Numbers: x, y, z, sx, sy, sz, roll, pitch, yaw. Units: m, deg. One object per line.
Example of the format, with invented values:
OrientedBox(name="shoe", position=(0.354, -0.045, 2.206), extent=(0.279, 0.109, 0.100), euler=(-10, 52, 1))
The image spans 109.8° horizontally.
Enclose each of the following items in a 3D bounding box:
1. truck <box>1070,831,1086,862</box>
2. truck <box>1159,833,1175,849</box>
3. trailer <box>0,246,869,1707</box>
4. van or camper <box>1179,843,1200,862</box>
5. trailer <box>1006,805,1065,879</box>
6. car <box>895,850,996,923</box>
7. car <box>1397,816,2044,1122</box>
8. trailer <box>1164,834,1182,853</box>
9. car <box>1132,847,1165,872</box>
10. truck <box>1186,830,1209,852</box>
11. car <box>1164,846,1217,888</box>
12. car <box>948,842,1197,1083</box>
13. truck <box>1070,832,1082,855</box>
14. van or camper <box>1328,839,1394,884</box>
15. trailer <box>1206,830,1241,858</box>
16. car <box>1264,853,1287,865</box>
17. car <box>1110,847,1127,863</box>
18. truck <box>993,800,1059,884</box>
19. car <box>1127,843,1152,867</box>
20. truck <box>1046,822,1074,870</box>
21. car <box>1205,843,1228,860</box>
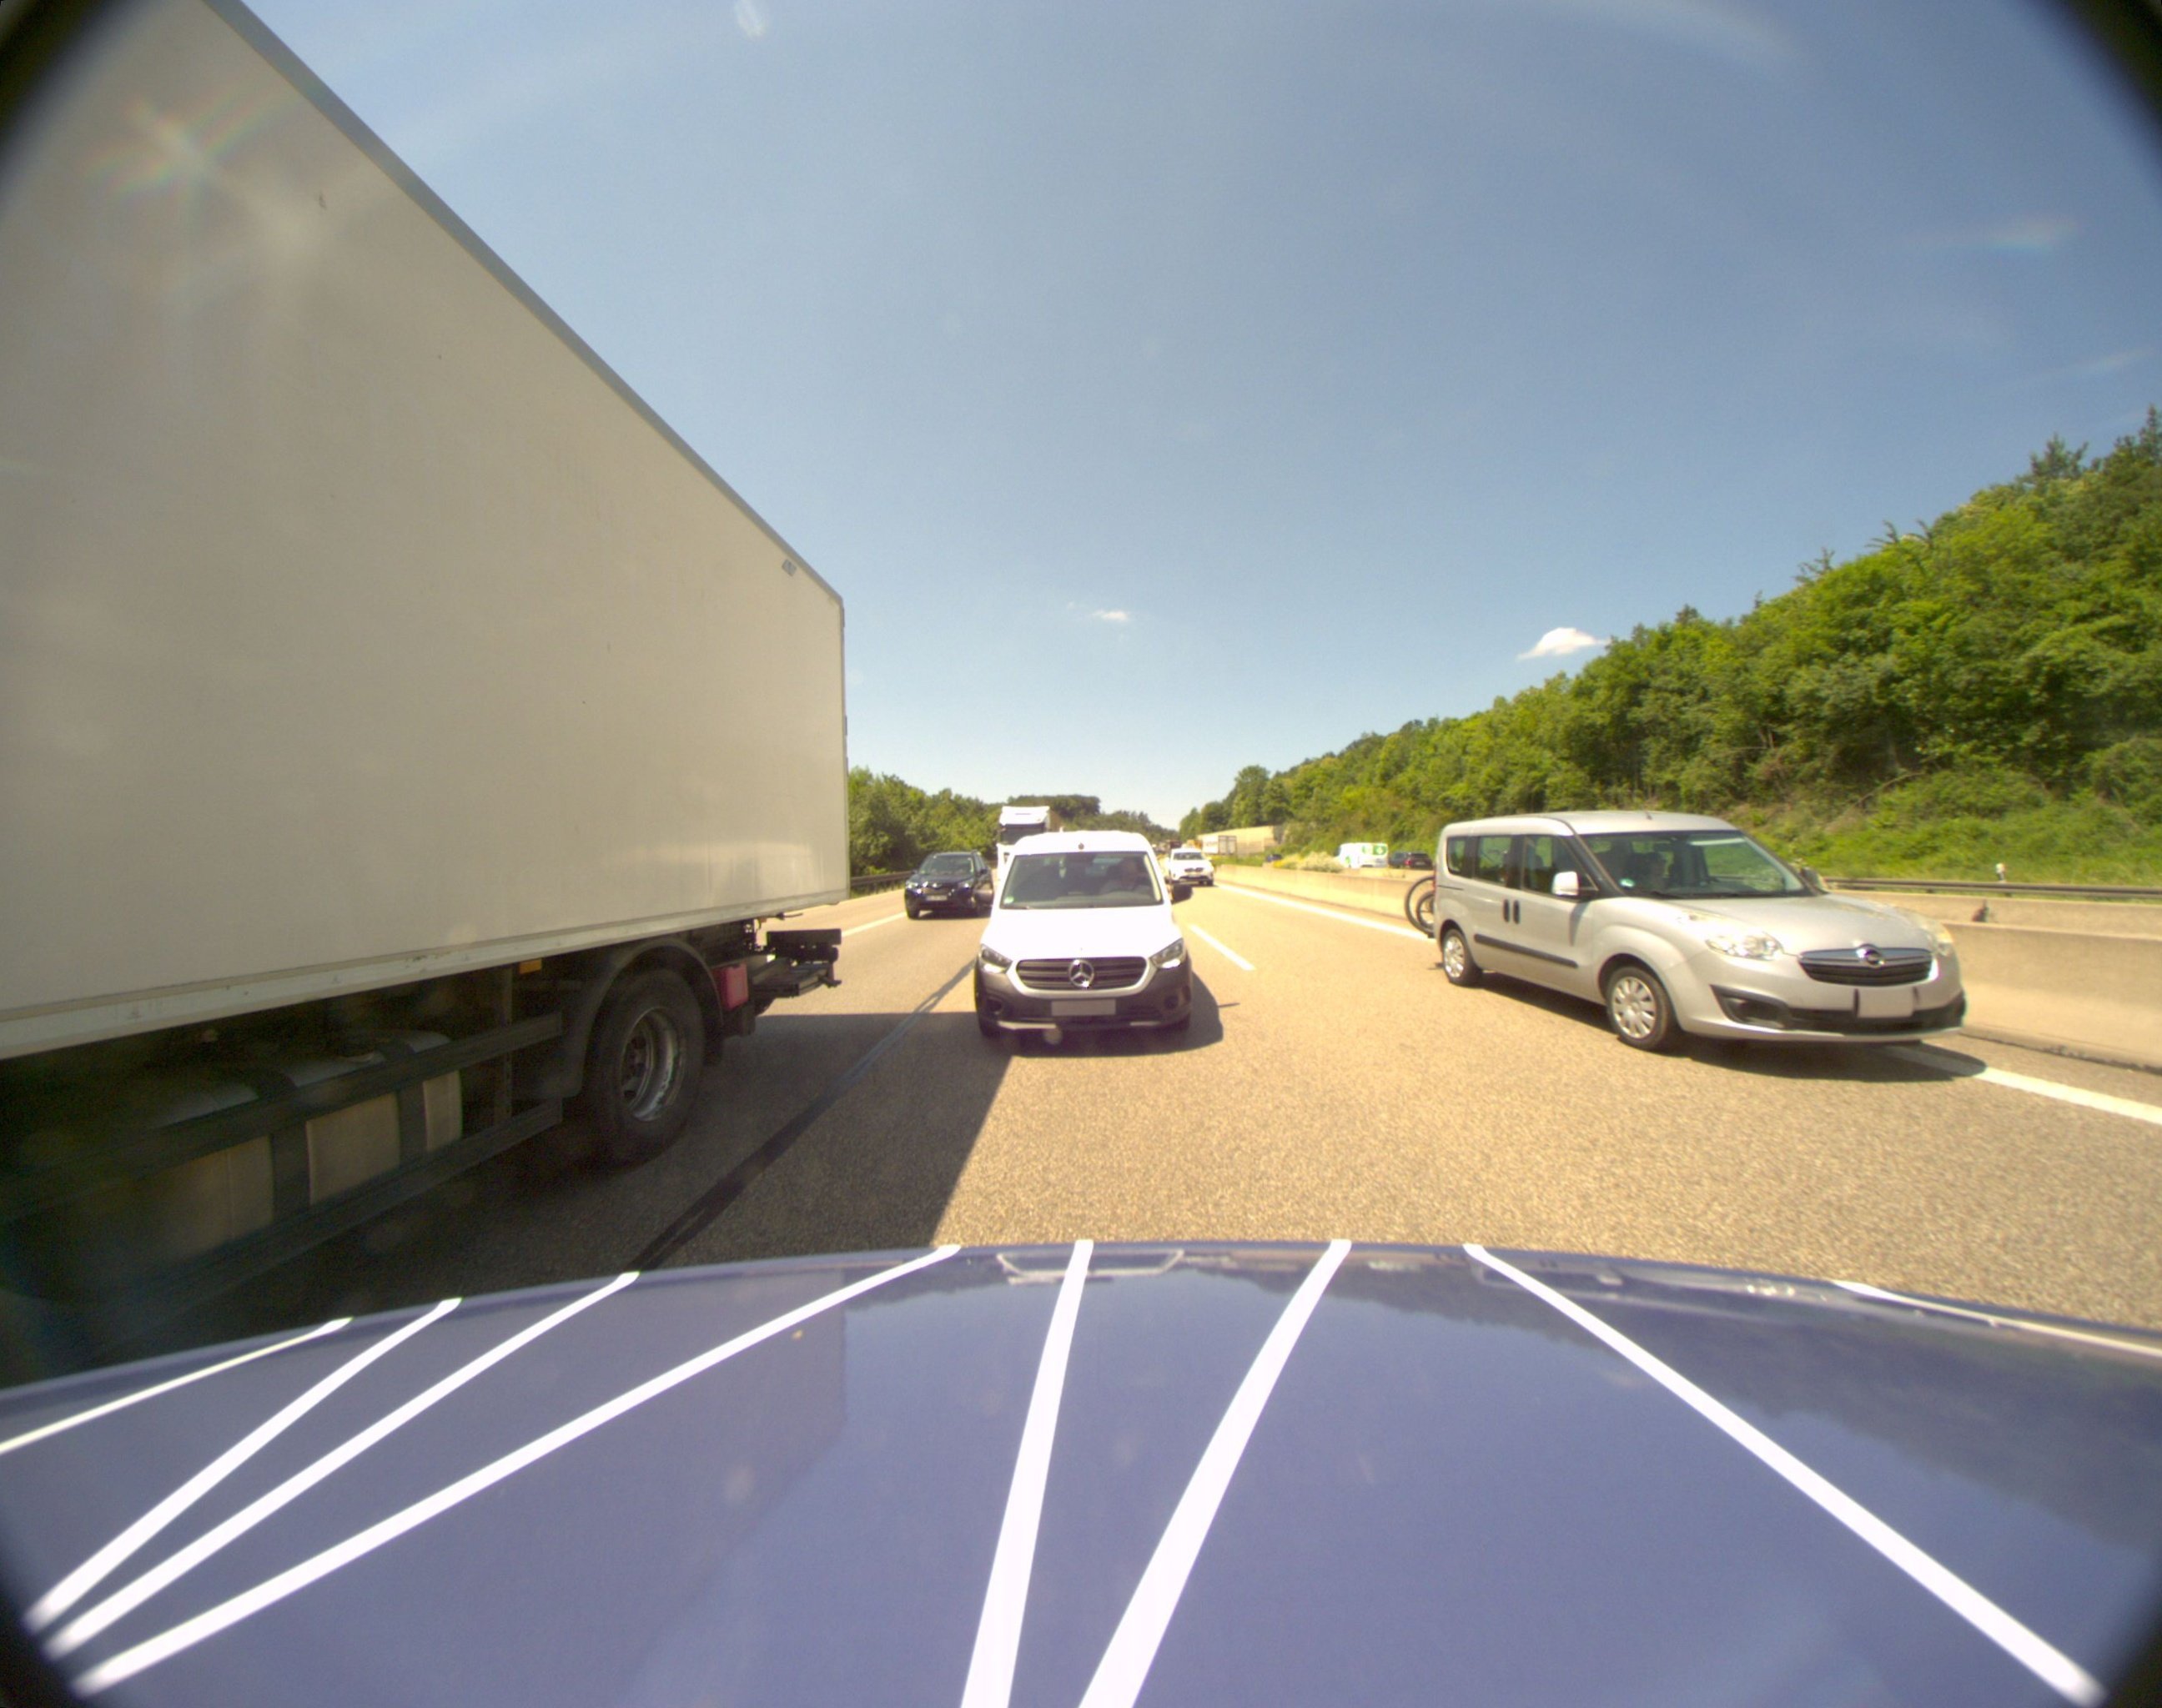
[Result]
OrientedBox(name="truck", position=(-0.465, -1.034, 114.553), extent=(2.187, 4.437, 10.869), euler=(-2, 0, 0))
OrientedBox(name="truck", position=(26.616, -4.092, 235.356), extent=(3.277, 4.518, 14.101), euler=(-2, 0, 1))
OrientedBox(name="trailer", position=(-3.369, 0.261, 3.172), extent=(2.562, 2.882, 7.881), euler=(-2, 0, 1))
OrientedBox(name="van or camper", position=(17.433, -0.347, 122.419), extent=(2.400, 2.860, 6.710), euler=(-2, 1, 0))
OrientedBox(name="trailer", position=(-2.656, -0.780, 48.090), extent=(2.766, 4.061, 11.615), euler=(0, 1, 1))
OrientedBox(name="car", position=(-3.539, 0.777, 20.697), extent=(1.999, 1.682, 4.609), euler=(-1, 1, -2))
OrientedBox(name="car", position=(4.800, 0.639, 6.947), extent=(1.857, 1.762, 4.917), euler=(-2, 1, 2))
OrientedBox(name="trailer", position=(22.085, -2.526, 182.742), extent=(3.443, 4.171, 7.895), euler=(-2, 1, 1))
OrientedBox(name="car", position=(5.116, 0.405, 58.168), extent=(1.999, 1.747, 3.998), euler=(-2, 1, -2))
OrientedBox(name="truck", position=(25.542, -2.953, 167.448), extent=(3.098, 4.519, 14.097), euler=(-2, 1, 1))
OrientedBox(name="car", position=(4.899, 0.530, 34.406), extent=(1.824, 1.696, 3.999), euler=(-2, 1, 1))
OrientedBox(name="car", position=(-0.020, 0.765, 7.716), extent=(1.756, 1.681, 4.363), euler=(-2, 1, 1))
OrientedBox(name="truck", position=(-0.900, -1.938, 147.197), extent=(2.187, 4.073, 10.869), euler=(-2, 0, 0))
OrientedBox(name="van or camper", position=(16.013, 0.344, 43.769), extent=(1.998, 2.371, 4.807), euler=(-2, 1, 0))
OrientedBox(name="trailer", position=(21.141, -1.466, 113.278), extent=(3.004, 3.850, 11.398), euler=(-2, 1, 1))
OrientedBox(name="car", position=(23.760, 0.627, 93.164), extent=(1.998, 1.326, 4.001), euler=(-1, 0, 3))
OrientedBox(name="car", position=(4.925, 0.061, 99.792), extent=(1.999, 2.002, 3.998), euler=(-1, 1, -1))
OrientedBox(name="truck", position=(-2.838, -0.672, 41.427), extent=(2.766, 4.061, 7.333), euler=(-2, 1, 2))
OrientedBox(name="car", position=(5.255, 0.059, 68.829), extent=(1.998, 2.002, 4.000), euler=(-2, 1, 1))
OrientedBox(name="truck", position=(-2.017, -0.756, 76.716), extent=(2.394, 4.437, 10.869), euler=(-2, 0, 0))
OrientedBox(name="car", position=(16.998, -0.396, 95.601), extent=(1.999, 2.002, 3.999), euler=(-2, 1, -1))
